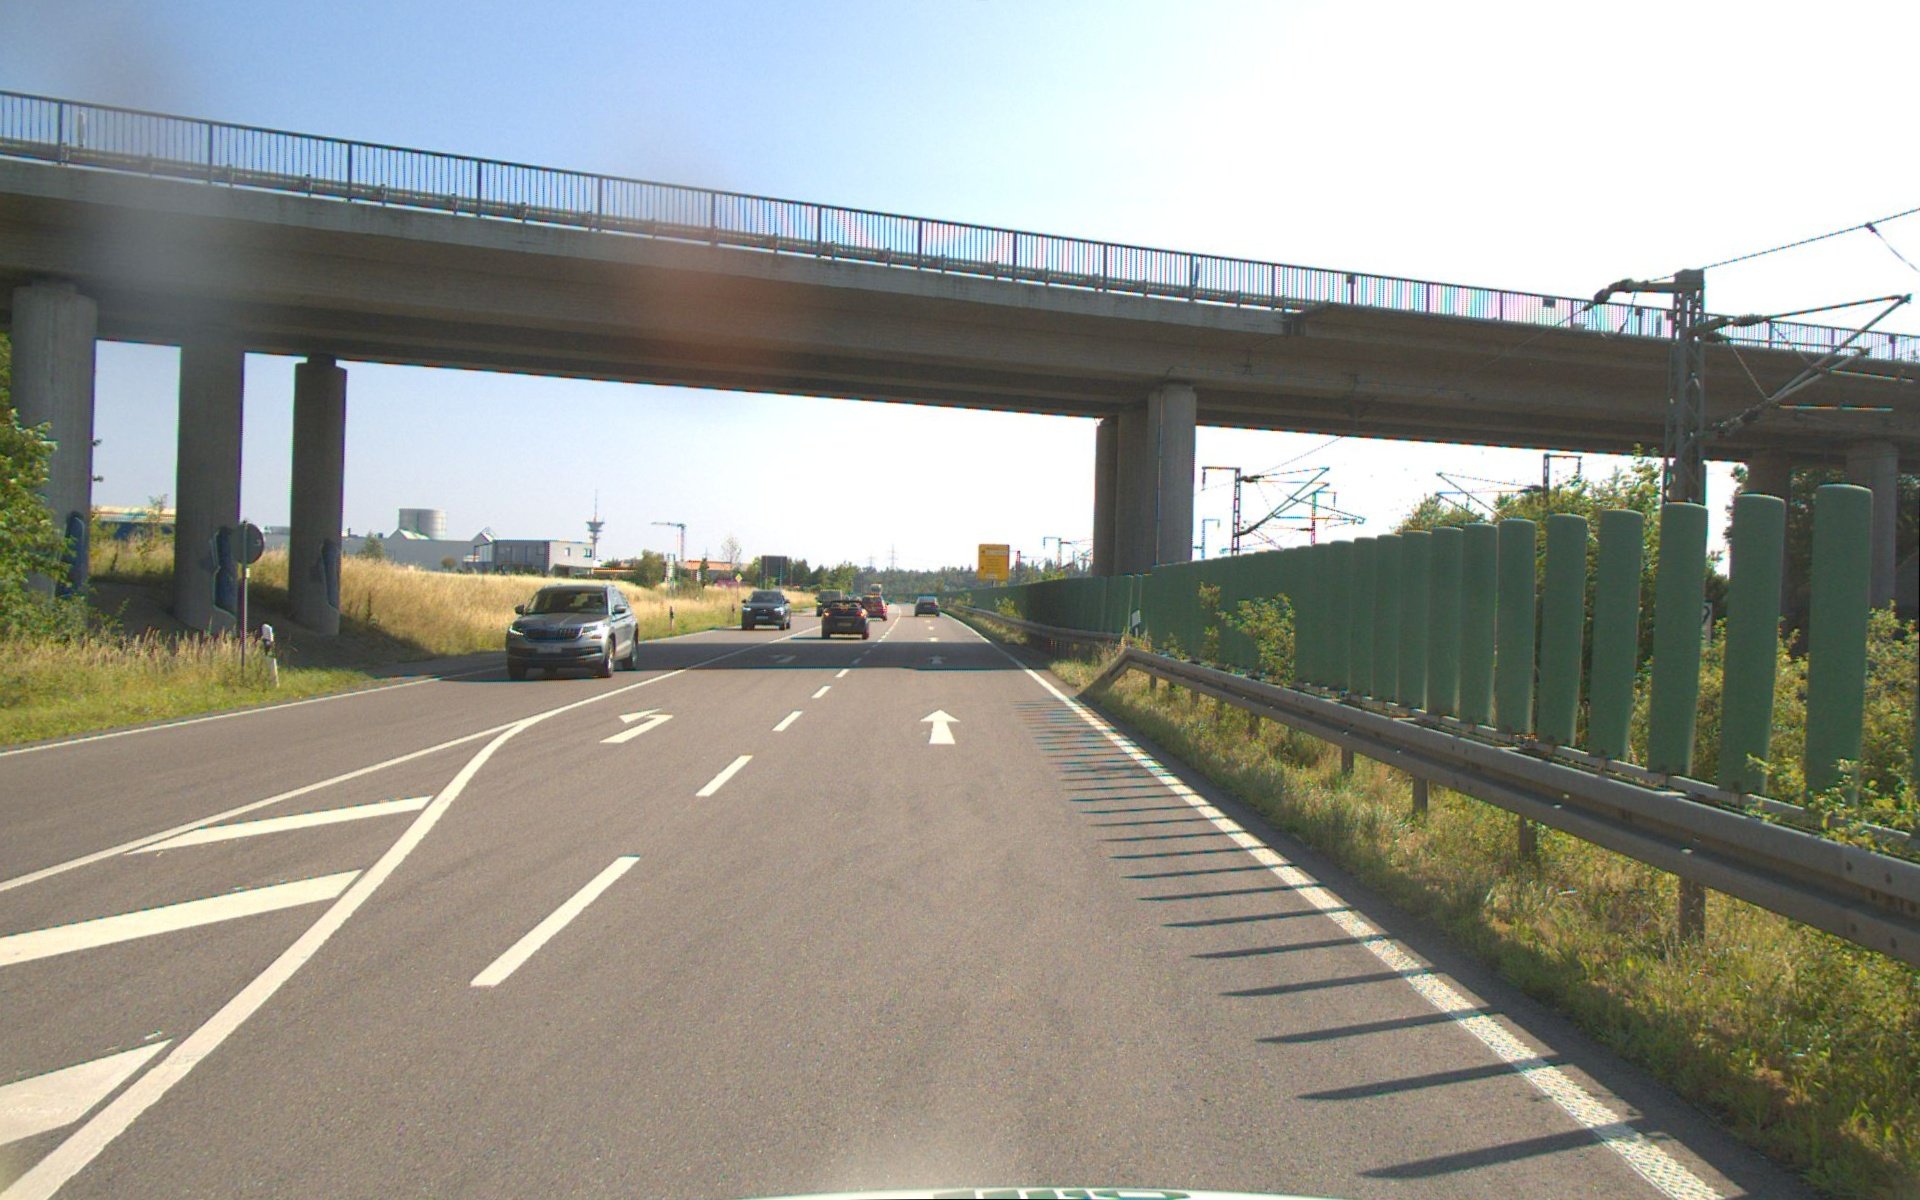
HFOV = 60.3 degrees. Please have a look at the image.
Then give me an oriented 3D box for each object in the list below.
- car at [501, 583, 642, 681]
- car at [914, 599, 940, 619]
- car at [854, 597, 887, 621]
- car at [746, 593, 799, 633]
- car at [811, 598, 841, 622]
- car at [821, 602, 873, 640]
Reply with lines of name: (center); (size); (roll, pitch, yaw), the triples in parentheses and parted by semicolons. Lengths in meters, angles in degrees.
car: (-7.076, 0.538, 30.507); (1.808, 1.659, 3.998); (1, 0, -3)
car: (-2.403, 0.640, 121.867); (1.856, 1.443, 3.999); (1, 0, -1)
car: (-5.391, 0.539, 99.942); (1.856, 1.443, 3.999); (1, 0, -1)
car: (-8.049, 0.566, 71.364); (1.856, 1.659, 3.999); (1, 0, -1)
car: (-9.695, 0.706, 119.910); (1.856, 1.659, 3.999); (1, 0, -1)
car: (-3.973, 0.719, 58.579); (1.629, 1.283, 3.999); (1, 0, -1)
